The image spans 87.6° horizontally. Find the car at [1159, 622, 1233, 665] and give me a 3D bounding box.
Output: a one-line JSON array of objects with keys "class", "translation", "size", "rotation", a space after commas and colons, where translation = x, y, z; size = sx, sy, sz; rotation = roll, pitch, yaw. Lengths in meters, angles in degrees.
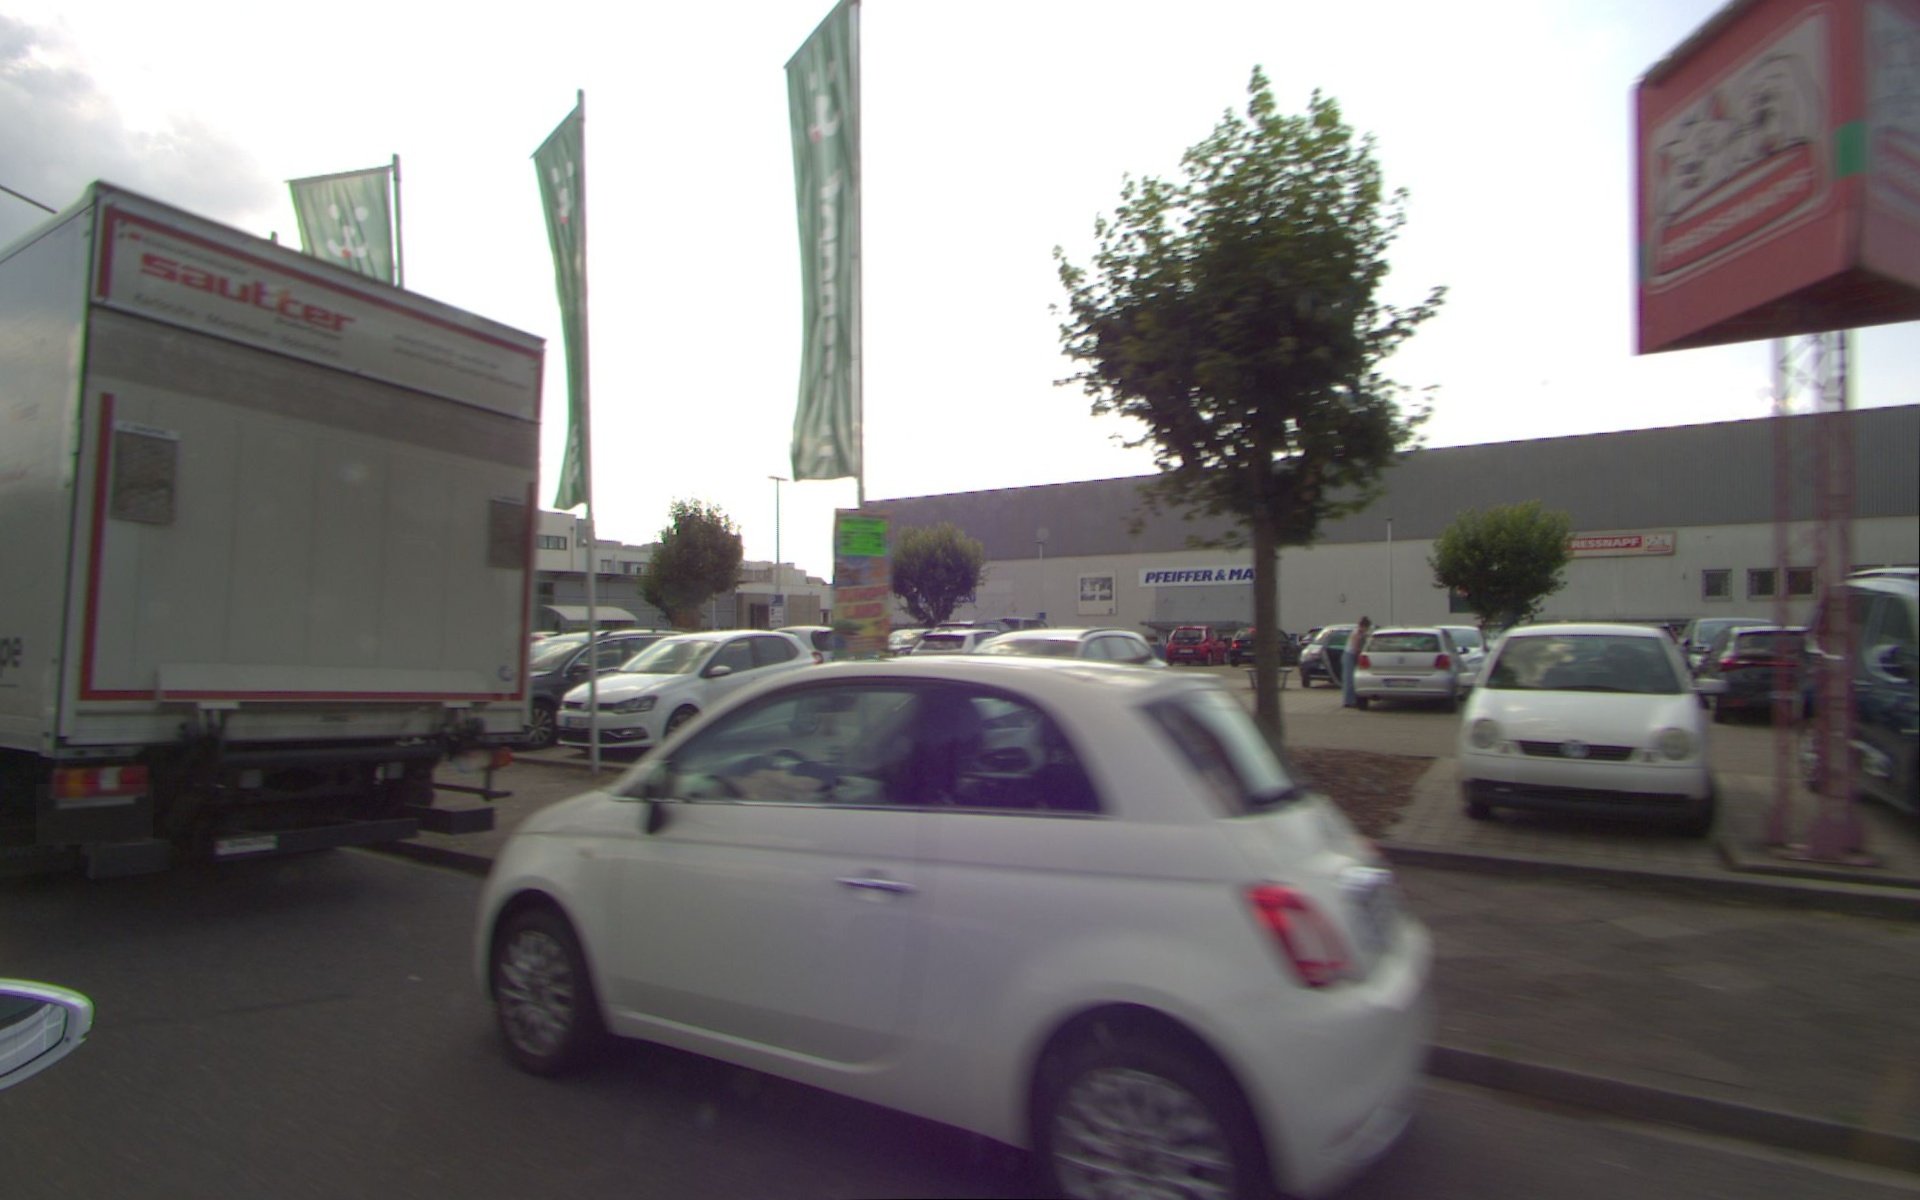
[{"class": "car", "translation": [8.986, 1.607, 37.915], "size": [1.699, 1.503, 4.026], "rotation": [-1, -1, 29]}]

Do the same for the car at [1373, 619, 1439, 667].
[{"class": "car", "translation": [15.285, 1.431, 34.208], "size": [1.699, 1.503, 4.009], "rotation": [-1, -1, 29]}]

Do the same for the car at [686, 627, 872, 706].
[{"class": "car", "translation": [-3.881, 1.371, 21.357], "size": [3.697, 1.538, 1.717], "rotation": [-1, -2, 30]}]

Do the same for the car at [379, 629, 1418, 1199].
[{"class": "car", "translation": [-0.340, 0.916, 3.706], "size": [3.573, 1.529, 1.544], "rotation": [-1, -4, 31]}]

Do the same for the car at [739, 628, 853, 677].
[{"class": "car", "translation": [-5.473, 1.729, 33.863], "size": [1.699, 1.503, 4.005], "rotation": [-1, -1, 29]}]

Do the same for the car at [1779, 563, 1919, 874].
[{"class": "car", "translation": [7.193, 0.691, 6.723], "size": [1.875, 1.811, 4.886], "rotation": [-1, -1, 31]}]

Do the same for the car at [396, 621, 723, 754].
[{"class": "car", "translation": [-5.480, 1.109, 14.329], "size": [1.721, 1.562, 4.284], "rotation": [-1, -1, 27]}]

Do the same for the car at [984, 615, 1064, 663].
[{"class": "car", "translation": [2.669, 1.559, 40.947], "size": [1.699, 1.823, 4.060], "rotation": [-1, -1, 29]}]

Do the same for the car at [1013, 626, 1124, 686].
[{"class": "car", "translation": [3.131, 1.519, 28.180], "size": [1.699, 1.503, 3.931], "rotation": [-1, -1, 29]}]

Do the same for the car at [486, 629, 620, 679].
[{"class": "car", "translation": [-13.731, 1.776, 33.980], "size": [1.699, 1.503, 4.054], "rotation": [-1, -1, 29]}]

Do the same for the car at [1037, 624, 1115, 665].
[{"class": "car", "translation": [4.680, 1.734, 40.056], "size": [1.699, 1.503, 3.917], "rotation": [-1, -1, 29]}]

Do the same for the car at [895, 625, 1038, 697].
[{"class": "car", "translation": [0.251, 1.364, 23.668], "size": [1.699, 1.503, 3.931], "rotation": [-1, -1, 29]}]

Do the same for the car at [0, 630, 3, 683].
[{"class": "car", "translation": [-28.331, 1.588, 26.868], "size": [1.667, 1.489, 3.588], "rotation": [-1, -1, 36]}]

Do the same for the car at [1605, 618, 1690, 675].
[{"class": "car", "translation": [20.035, 1.305, 29.322], "size": [1.699, 1.503, 4.027], "rotation": [-1, -1, 29]}]

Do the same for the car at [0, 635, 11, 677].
[{"class": "car", "translation": [-35.645, 2.009, 34.341], "size": [1.960, 1.482, 4.098], "rotation": [-1, -1, 29]}]

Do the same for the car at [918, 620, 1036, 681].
[{"class": "car", "translation": [0.582, 1.411, 29.090], "size": [1.714, 1.598, 4.053], "rotation": [-1, -1, 29]}]

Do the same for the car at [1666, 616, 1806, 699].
[{"class": "car", "translation": [15.747, 1.092, 20.513], "size": [1.699, 1.503, 3.931], "rotation": [-1, -1, 29]}]

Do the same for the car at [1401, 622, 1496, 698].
[{"class": "car", "translation": [11.173, 1.291, 22.764], "size": [1.699, 1.503, 3.931], "rotation": [-1, -1, 29]}]

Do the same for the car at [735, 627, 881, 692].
[{"class": "car", "translation": [-3.907, 1.508, 26.380], "size": [1.715, 1.503, 3.977], "rotation": [-1, -1, 29]}]

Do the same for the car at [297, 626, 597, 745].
[{"class": "car", "translation": [-7.767, 1.209, 15.546], "size": [1.721, 1.542, 3.882], "rotation": [-1, -1, 27]}]

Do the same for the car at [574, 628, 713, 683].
[{"class": "car", "translation": [-9.621, 1.641, 30.761], "size": [1.699, 1.503, 3.990], "rotation": [-1, -1, 29]}]

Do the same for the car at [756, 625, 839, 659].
[{"class": "car", "translation": [-7.735, 1.992, 48.009], "size": [1.699, 1.503, 4.179], "rotation": [-1, -1, 29]}]

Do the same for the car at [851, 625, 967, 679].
[{"class": "car", "translation": [-1.509, 1.540, 30.915], "size": [1.699, 1.503, 4.015], "rotation": [-1, -1, 29]}]

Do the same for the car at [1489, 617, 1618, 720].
[{"class": "car", "translation": [10.058, 1.069, 17.104], "size": [1.699, 1.503, 3.931], "rotation": [-1, -1, 29]}]

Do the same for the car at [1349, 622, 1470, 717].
[{"class": "car", "translation": [8.415, 1.193, 18.567], "size": [1.699, 1.503, 3.931], "rotation": [-1, -1, 29]}]

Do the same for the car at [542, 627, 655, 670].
[{"class": "car", "translation": [-14.050, 1.852, 39.159], "size": [1.699, 1.503, 4.037], "rotation": [-1, -1, 29]}]

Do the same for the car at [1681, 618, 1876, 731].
[{"class": "car", "translation": [12.639, 1.063, 15.718], "size": [1.699, 1.503, 3.931], "rotation": [-1, -1, 29]}]

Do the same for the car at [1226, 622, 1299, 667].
[{"class": "car", "translation": [11.011, 1.565, 36.320], "size": [1.699, 1.503, 4.018], "rotation": [-1, -1, 29]}]

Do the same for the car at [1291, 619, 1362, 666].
[{"class": "car", "translation": [12.870, 1.455, 35.033], "size": [1.699, 1.503, 4.001], "rotation": [-1, -1, 29]}]

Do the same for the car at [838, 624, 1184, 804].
[{"class": "car", "translation": [0.793, 1.016, 10.760], "size": [1.831, 1.456, 4.474], "rotation": [-1, -1, 31]}]

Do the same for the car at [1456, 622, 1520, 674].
[{"class": "car", "translation": [17.106, 1.502, 32.343], "size": [1.699, 1.503, 4.126], "rotation": [-1, -1, 29]}]

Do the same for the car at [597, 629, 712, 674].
[{"class": "car", "translation": [-11.416, 1.900, 37.722], "size": [1.699, 1.503, 4.113], "rotation": [-1, -1, 29]}]

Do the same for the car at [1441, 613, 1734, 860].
[{"class": "car", "translation": [5.126, 0.881, 8.236], "size": [1.631, 1.518, 3.803], "rotation": [-1, -1, 33]}]

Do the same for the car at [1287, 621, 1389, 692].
[{"class": "car", "translation": [9.123, 1.291, 23.991], "size": [1.699, 1.503, 3.931], "rotation": [-1, -1, 29]}]

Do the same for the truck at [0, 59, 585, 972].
[{"class": "truck", "translation": [-6.823, -0.248, 7.934], "size": [8.162, 4.166, 2.775], "rotation": [-1, -4, 33]}]

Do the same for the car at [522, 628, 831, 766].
[{"class": "car", "translation": [-3.508, 1.125, 13.105], "size": [1.721, 1.451, 3.882], "rotation": [-1, -1, 27]}]
